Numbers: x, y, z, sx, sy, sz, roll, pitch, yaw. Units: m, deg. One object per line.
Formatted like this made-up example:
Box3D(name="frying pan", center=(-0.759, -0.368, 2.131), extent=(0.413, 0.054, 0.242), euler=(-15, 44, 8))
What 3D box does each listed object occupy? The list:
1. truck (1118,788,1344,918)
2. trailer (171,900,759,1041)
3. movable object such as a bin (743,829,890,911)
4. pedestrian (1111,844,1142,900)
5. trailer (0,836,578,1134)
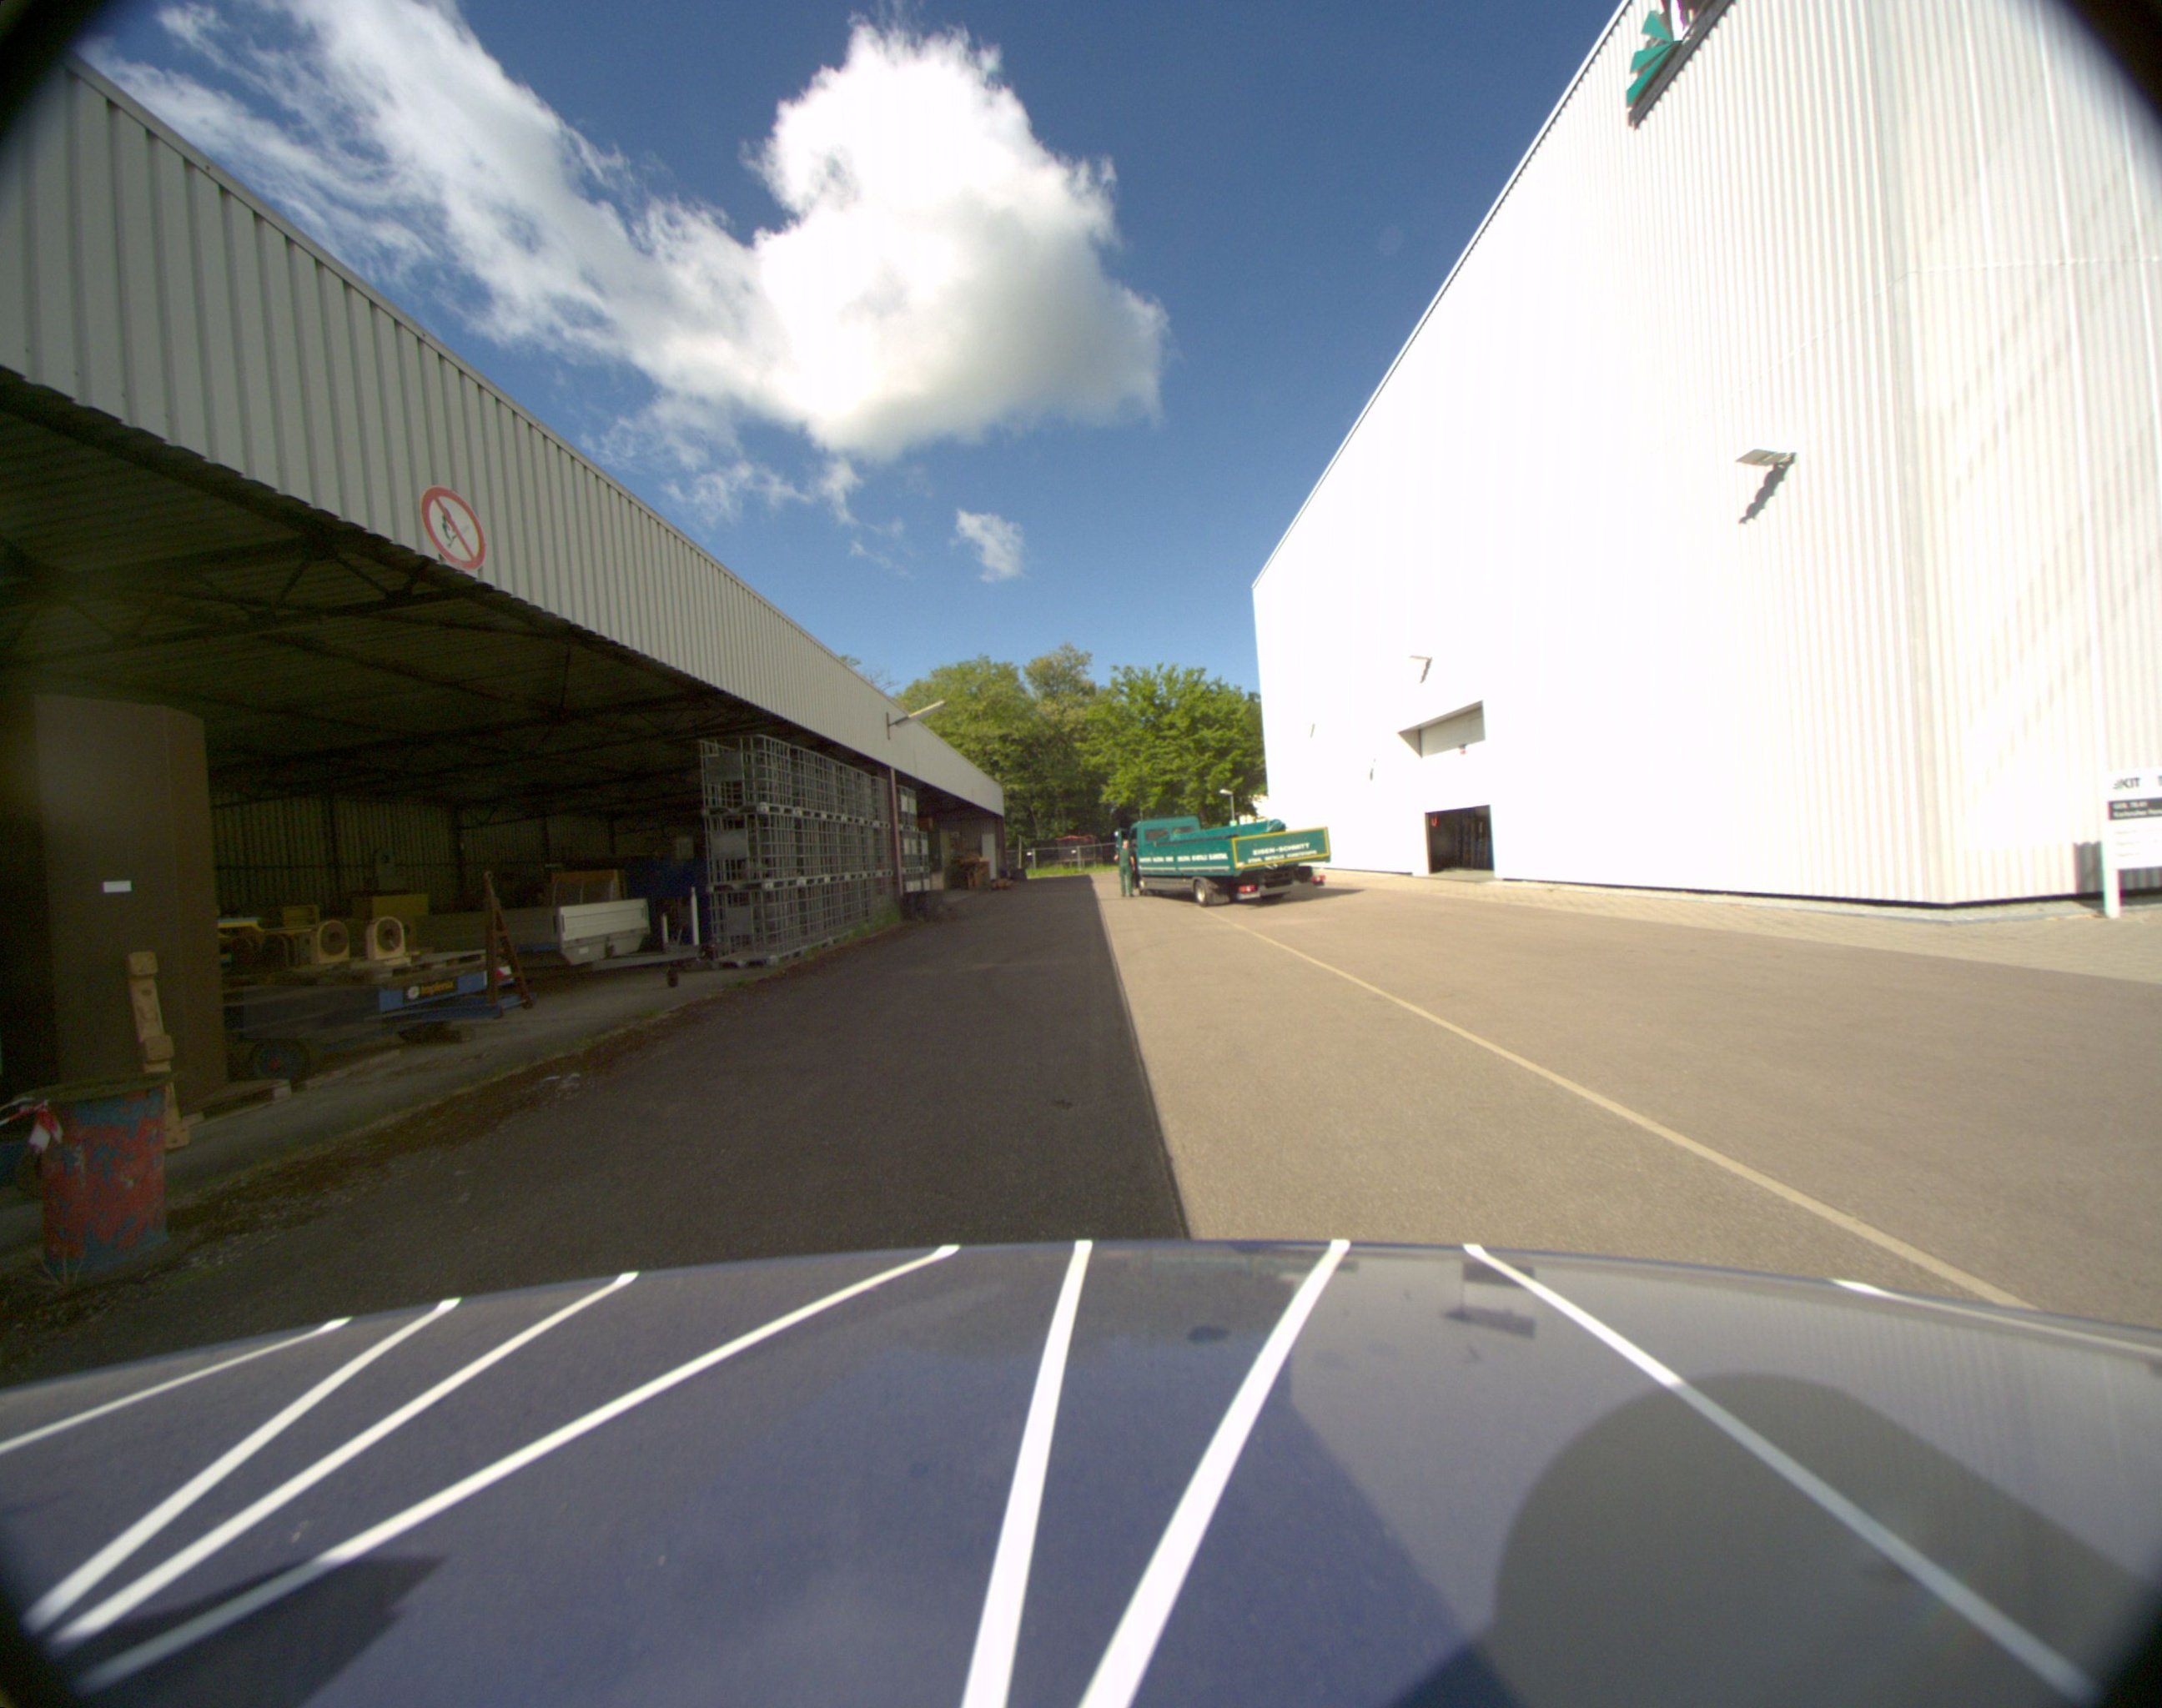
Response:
Box3D(name="truck", center=(3.705, 0.040, 22.121), extent=(2.589, 2.701, 9.686), euler=(-7, 1, -12))
Box3D(name="trailer", center=(-7.449, 1.391, 9.703), extent=(5.749, 1.126, 2.008), euler=(-3, 0, -1))
Box3D(name="movable object such as a bin", center=(-9.663, 0.581, 28.029), extent=(4.627, 2.706, 2.000), euler=(-2, 0, -1))
Box3D(name="pedestrian", center=(1.507, 0.570, 25.260), extent=(0.894, 1.792, 1.039), euler=(-2, 1, -1))
Box3D(name="trailer", center=(-7.336, 0.959, 6.363), extent=(4.828, 1.985, 2.047), euler=(-3, 1, 3))
